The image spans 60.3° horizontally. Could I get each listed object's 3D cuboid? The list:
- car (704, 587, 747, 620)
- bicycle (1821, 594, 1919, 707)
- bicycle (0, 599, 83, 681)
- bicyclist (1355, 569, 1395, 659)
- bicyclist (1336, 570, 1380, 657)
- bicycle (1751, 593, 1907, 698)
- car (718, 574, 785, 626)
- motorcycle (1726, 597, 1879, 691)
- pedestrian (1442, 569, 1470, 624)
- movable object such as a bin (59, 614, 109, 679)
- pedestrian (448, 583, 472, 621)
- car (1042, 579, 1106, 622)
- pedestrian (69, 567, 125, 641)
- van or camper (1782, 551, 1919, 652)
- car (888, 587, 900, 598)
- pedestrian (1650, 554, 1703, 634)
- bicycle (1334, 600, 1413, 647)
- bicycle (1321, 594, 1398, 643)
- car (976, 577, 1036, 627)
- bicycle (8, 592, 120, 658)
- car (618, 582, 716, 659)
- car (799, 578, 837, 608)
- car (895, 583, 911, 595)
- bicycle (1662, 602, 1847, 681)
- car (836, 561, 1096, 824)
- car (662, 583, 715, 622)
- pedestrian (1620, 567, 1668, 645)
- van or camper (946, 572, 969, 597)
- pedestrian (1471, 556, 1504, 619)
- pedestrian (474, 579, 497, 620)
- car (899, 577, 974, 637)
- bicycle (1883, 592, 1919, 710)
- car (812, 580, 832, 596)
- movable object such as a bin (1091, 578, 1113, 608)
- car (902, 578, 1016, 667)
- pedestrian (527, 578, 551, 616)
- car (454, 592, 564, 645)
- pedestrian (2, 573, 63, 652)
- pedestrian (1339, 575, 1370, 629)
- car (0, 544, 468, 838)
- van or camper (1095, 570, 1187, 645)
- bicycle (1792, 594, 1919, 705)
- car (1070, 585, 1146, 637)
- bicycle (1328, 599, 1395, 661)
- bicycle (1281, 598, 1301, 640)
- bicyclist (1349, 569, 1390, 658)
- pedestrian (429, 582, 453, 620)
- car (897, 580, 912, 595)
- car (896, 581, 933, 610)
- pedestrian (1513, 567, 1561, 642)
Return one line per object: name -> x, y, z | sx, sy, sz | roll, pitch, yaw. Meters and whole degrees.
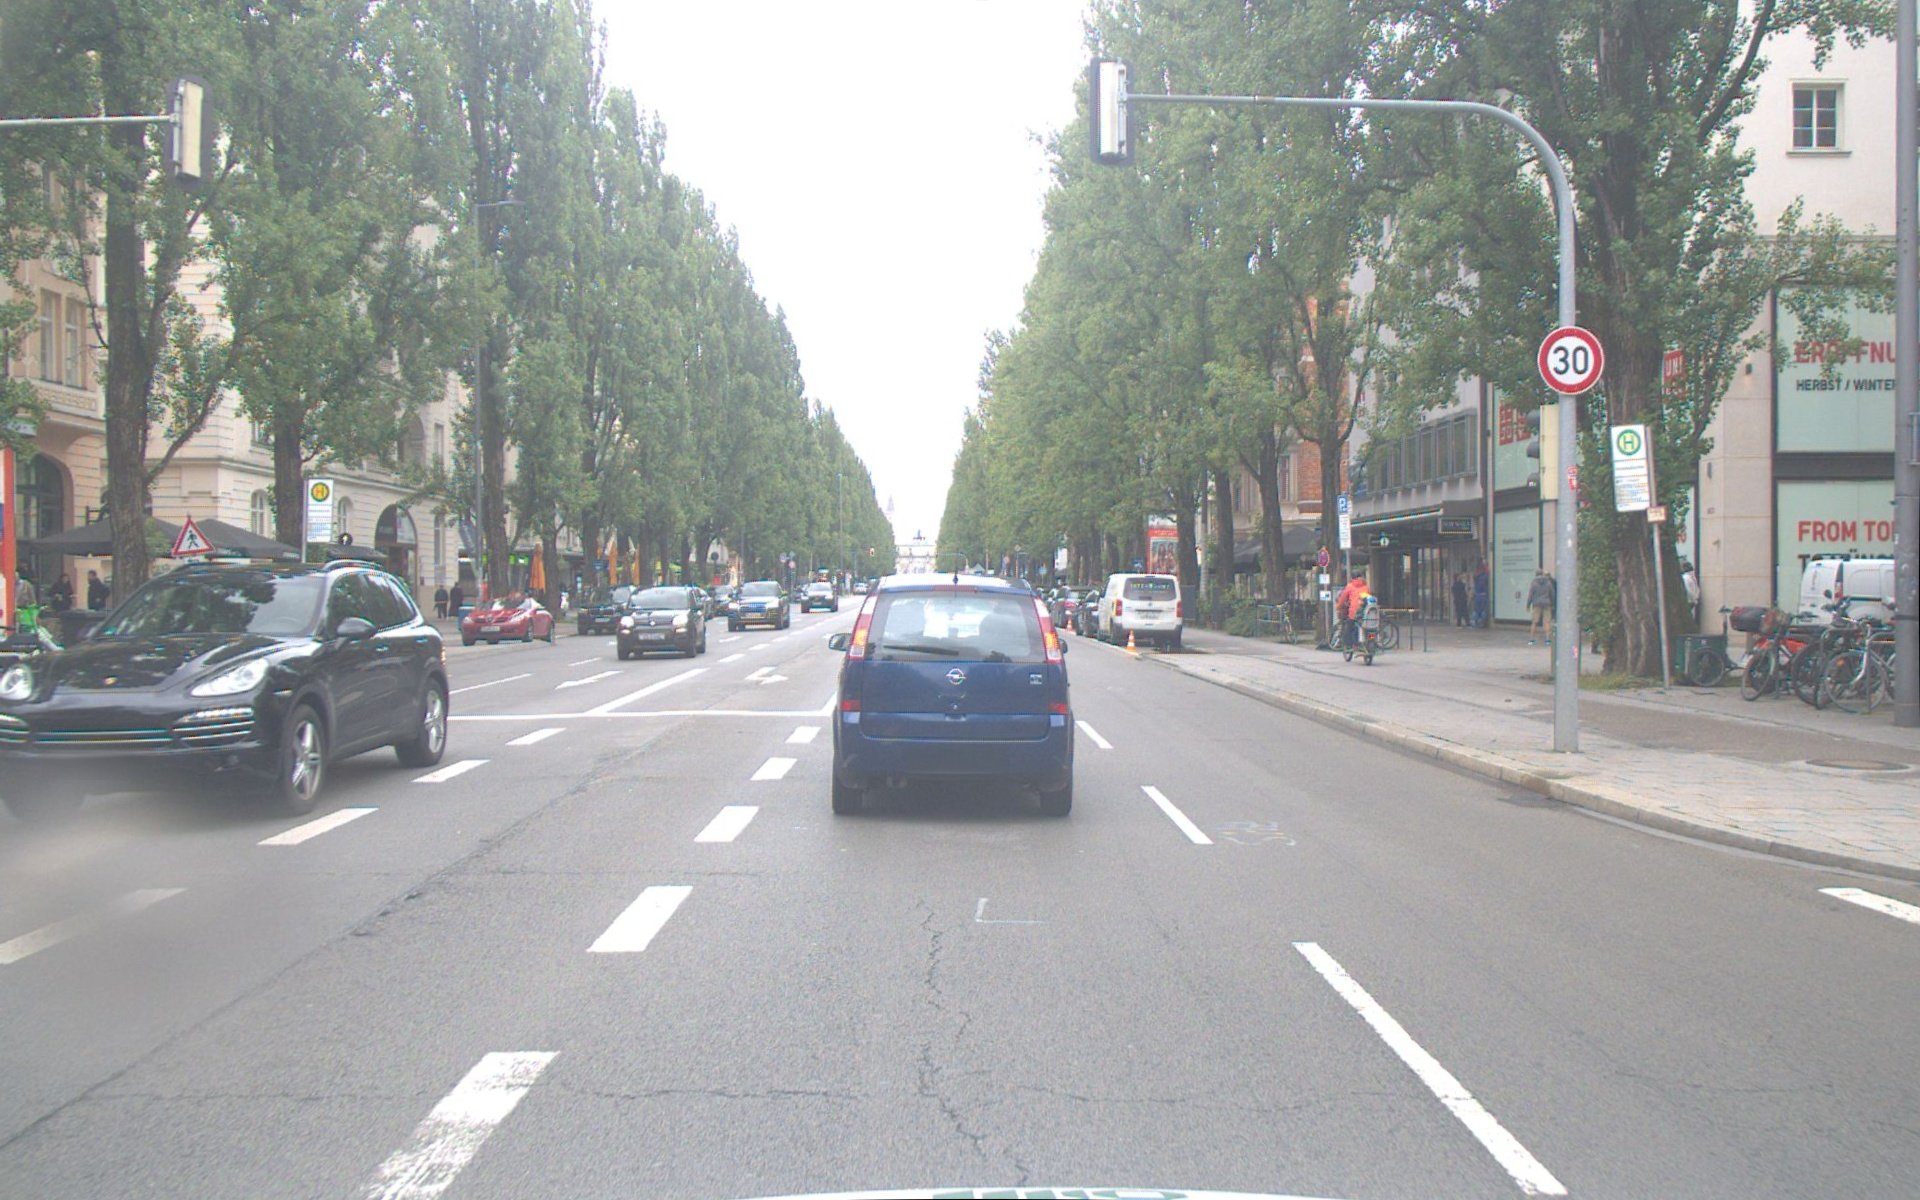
car -> -12.709, 0.161, 89.793 | 1.827, 1.683, 4.613 | -3, 1, -3
bicycle -> 11.121, 0.567, 18.968 | 2.268, 1.274, 0.477 | 0, 0, -2
bicycle -> -15.313, 0.639, 26.715 | 1.939, 1.312, 0.500 | 1, 0, -45
bicyclist -> 7.561, 0.252, 30.165 | 0.609, 1.616, 0.391 | -1, 0, -2
bicyclist -> 7.519, 0.248, 31.267 | 0.609, 1.616, 0.752 | -1, 0, -2
bicycle -> 10.684, 0.553, 20.352 | 1.689, 1.261, 0.449 | 0, 0, 0
car -> -7.205, -0.026, 57.456 | 1.874, 1.710, 4.585 | 0, 1, -2
motorcycle -> 10.675, 0.555, 20.978 | 1.689, 1.159, 0.510 | 0, 0, 0
pedestrian -> 15.118, -0.115, 50.448 | 0.656, 1.637, 0.772 | -1, 1, 6
movable object such as a bin -> -14.910, 0.781, 28.150 | 0.714, 1.059, 0.847 | 1, 0, -30
pedestrian -> -20.562, 0.065, 68.028 | 0.753, 1.564, 0.804 | 0, 0, -2
car -> 4.204, -0.001, 61.607 | 1.781, 1.532, 4.228 | -1, 1, -5
pedestrian -> -21.248, 0.096, 40.724 | 0.887, 1.774, 0.820 | 1, 0, 4
van or camper -> 18.704, 0.048, 32.628 | 4.019, 1.899, 1.899 | 1, 0, 2
car -> -10.135, -1.187, 255.615 | 1.798, 1.706, 3.777 | -1, 1, -2
pedestrian -> 15.760, -0.133, 36.410 | 0.735, 1.748, 0.962 | 0, 0, -1
bicycle -> 9.437, 0.531, 37.736 | 1.727, 1.062, 0.482 | 0, 0, -13
bicycle -> 9.284, 0.423, 38.412 | 1.707, 1.130, 0.447 | 0, 0, -12
car -> 1.527, 0.048, 55.854 | 1.672, 1.601, 3.997 | 0, 1, -4
bicycle -> -15.614, 0.418, 28.882 | 0.496, 1.107, 1.809 | 1, 0, 22
car -> -6.217, 0.396, 35.408 | 1.530, 1.522, 3.693 | -1, 1, -2
car -> -7.960, -0.395, 93.127 | 1.896, 1.651, 4.335 | 0, 1, -2
car -> -7.061, -1.398, 204.121 | 1.922, 1.424, 3.777 | -1, 1, -2
bicycle -> 10.745, 0.555, 22.405 | 2.105, 1.035, 0.874 | 0, 0, -2
car -> -0.042, 0.567, 12.564 | 1.647, 1.670, 3.998 | 1, 1, -2
car -> -11.994, 0.097, 73.269 | 1.746, 1.603, 4.131 | -2, 1, -2
pedestrian -> 14.997, 0.124, 36.288 | 0.639, 1.692, 0.962 | 0, 0, -1
van or camper -> -0.281, -1.702, 181.670 | 2.426, 2.626, 5.843 | -1, 1, -1
pedestrian -> 15.763, -0.380, 49.430 | 0.852, 1.861, 0.835 | 0, 0, 26
pedestrian -> -20.180, -0.033, 70.298 | 0.719, 1.702, 0.952 | 0, 0, -2
car -> -0.682, 0.154, 44.969 | 1.953, 1.523, 3.998 | 0, 1, -2
bicycle -> 11.232, 0.559, 17.822 | 2.194, 1.274, 0.477 | 0, 0, 23
car -> -15.279, -1.343, 183.317 | 1.953, 1.691, 3.998 | -1, 1, -2
movable object such as a bin -> 8.203, -0.406, 95.523 | 1.013, 1.733, 1.585 | -1, 0, -5
car -> -0.080, 0.367, 30.799 | 1.953, 1.523, 3.998 | 0, 1, -2
pedestrian -> -19.625, -0.155, 77.104 | 0.834, 1.775, 1.148 | 0, 0, -1
car -> -11.962, 0.455, 44.100 | 1.841, 1.320, 4.094 | -1, 1, -1
pedestrian -> -21.265, 0.276, 37.953 | 0.826, 1.774, 0.954 | 1, 0, -1
pedestrian -> 13.776, 0.067, 57.815 | 0.809, 1.873, 1.099 | 0, 0, 0
car -> -5.209, 0.525, 12.239 | 1.846, 1.777, 4.438 | 0, 1, -1
van or camper -> 4.887, 0.174, 45.269 | 1.831, 1.916, 4.901 | 0, 0, -2
bicycle -> 11.148, 0.574, 19.580 | 2.296, 1.274, 0.633 | 0, 0, -2
car -> 4.502, 0.313, 50.807 | 1.685, 1.467, 4.351 | 2, 0, -3
bicycle -> 7.530, 0.547, 31.098 | 0.614, 1.105, 2.263 | -1, 0, -2
bicycle -> 8.668, 0.491, 43.388 | 0.357, 1.056, 1.732 | 0, 1, 6
bicyclist -> 7.547, 0.250, 30.505 | 0.609, 1.616, 0.481 | -1, 0, -2
pedestrian -> -21.393, 0.052, 68.183 | 0.753, 1.564, 0.804 | 0, 0, -2
car -> -7.024, -1.595, 209.377 | 1.798, 1.792, 3.777 | -1, 0, -2
car -> -2.508, -0.262, 89.970 | 1.953, 1.523, 3.998 | 0, 1, -2
pedestrian -> 13.466, 0.095, 38.584 | 0.809, 1.703, 0.984 | 0, 1, 35
